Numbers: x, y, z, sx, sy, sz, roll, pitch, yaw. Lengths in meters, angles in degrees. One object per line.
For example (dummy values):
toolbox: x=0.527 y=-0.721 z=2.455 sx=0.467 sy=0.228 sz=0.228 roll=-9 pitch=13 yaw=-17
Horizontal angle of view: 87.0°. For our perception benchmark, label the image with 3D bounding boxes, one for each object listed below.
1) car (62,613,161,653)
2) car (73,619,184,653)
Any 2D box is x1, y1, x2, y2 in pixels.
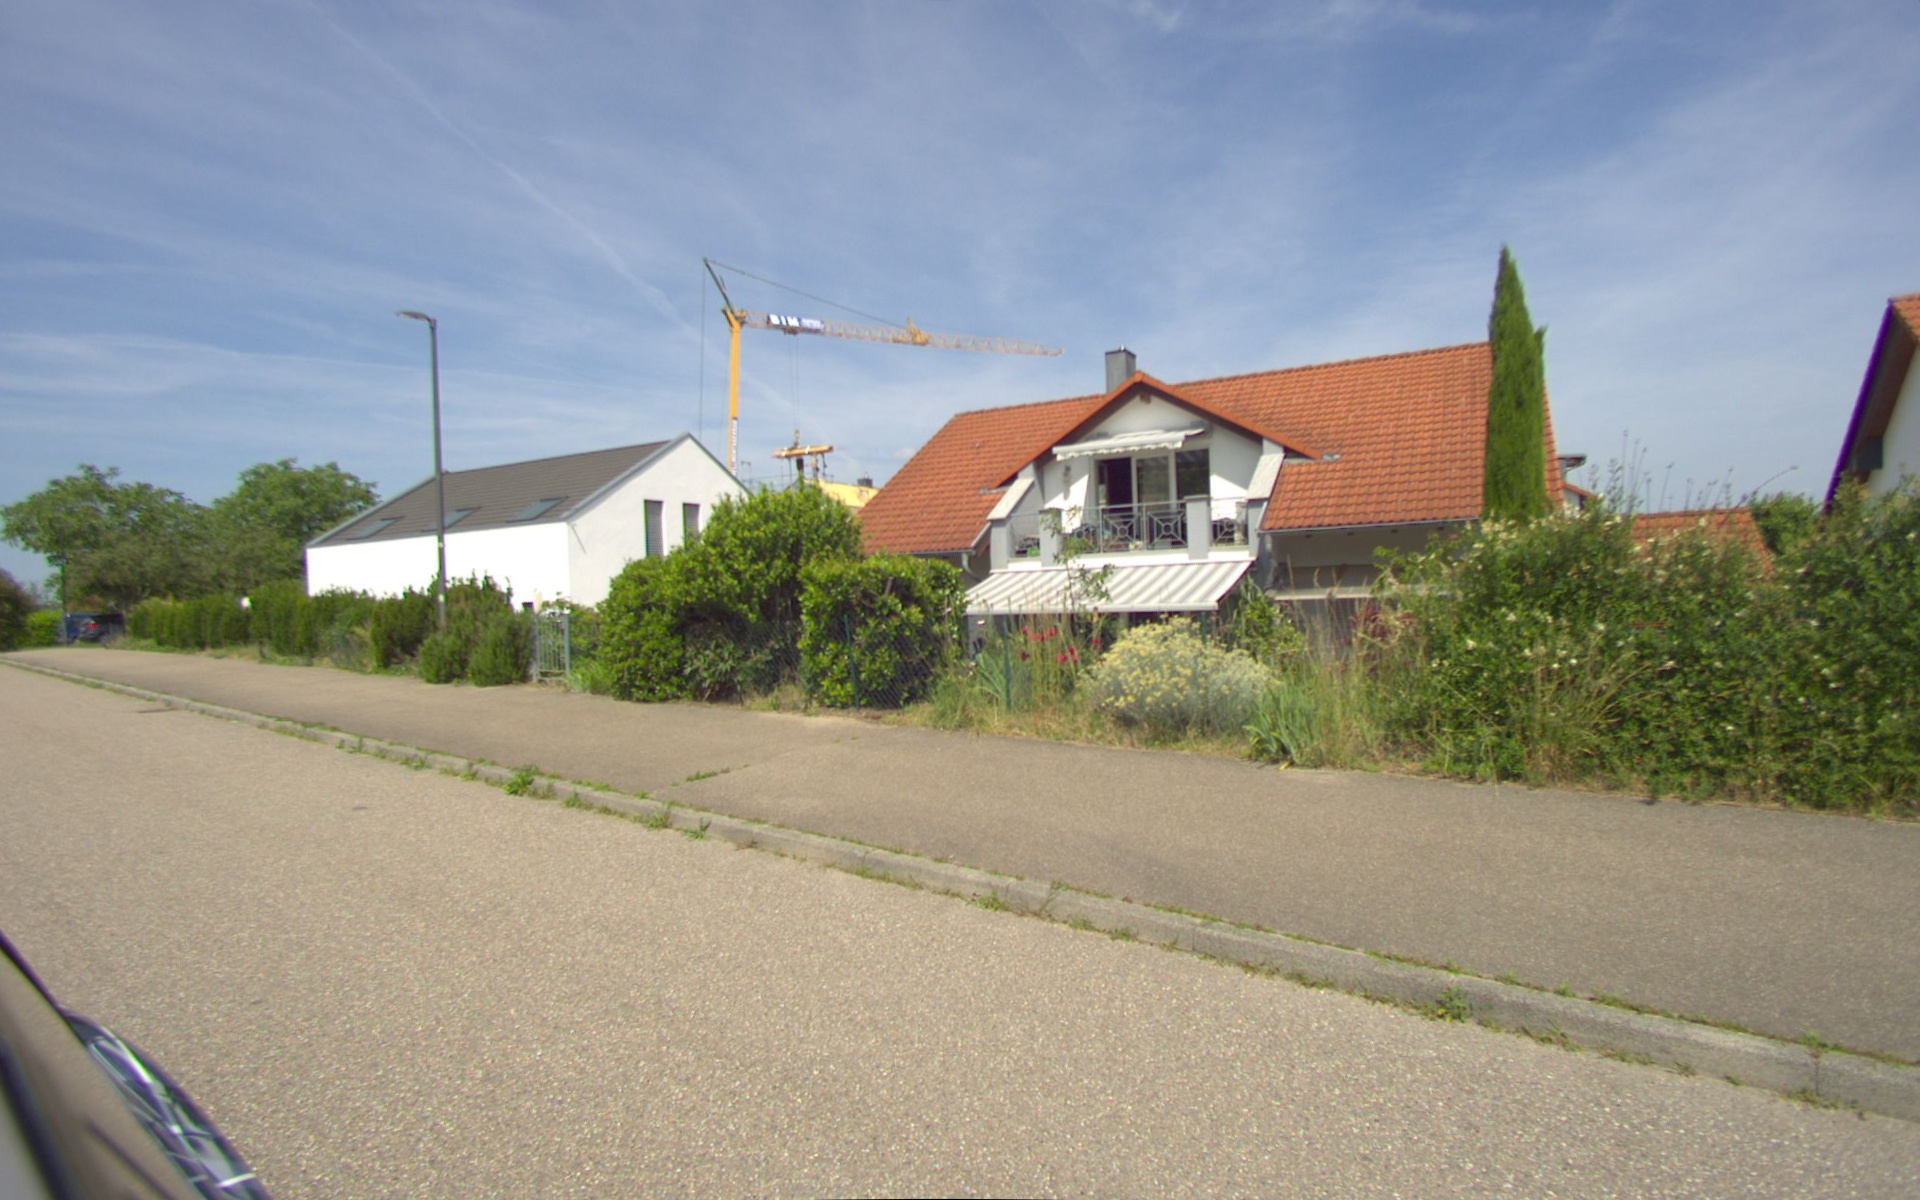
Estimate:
car: x=-44.388 y=1.692 z=52.991 sx=3.832 sy=1.826 sz=1.802 roll=-3 pitch=1 yaw=-45
car: x=-38.709 y=1.646 z=47.140 sx=3.832 sy=1.331 sz=1.802 roll=-2 pitch=0 yaw=-45
